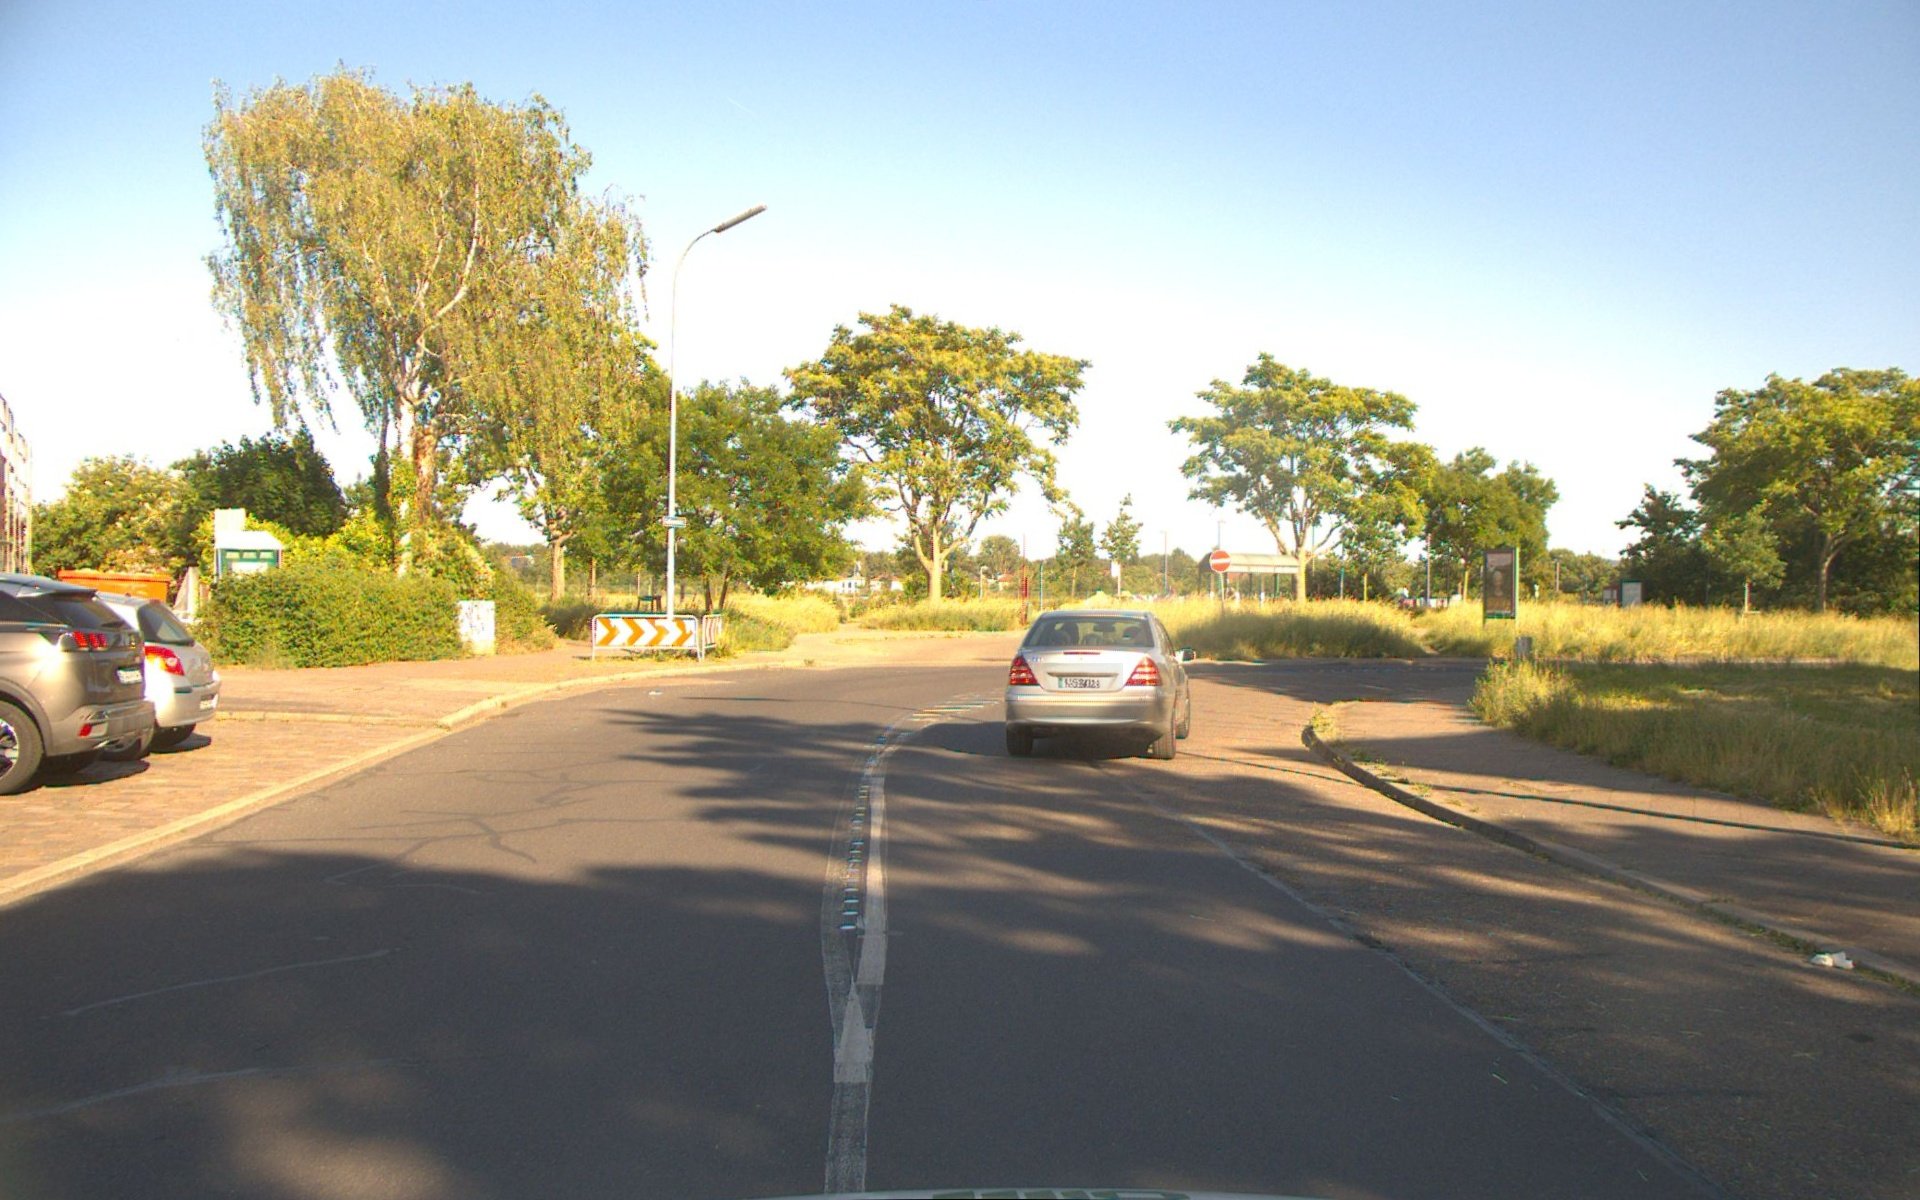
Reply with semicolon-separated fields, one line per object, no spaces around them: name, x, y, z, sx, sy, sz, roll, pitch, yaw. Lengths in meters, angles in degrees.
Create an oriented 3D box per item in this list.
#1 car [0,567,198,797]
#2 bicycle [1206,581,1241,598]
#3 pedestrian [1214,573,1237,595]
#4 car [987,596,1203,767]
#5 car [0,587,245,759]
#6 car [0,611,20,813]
car;-8.364;0.519;12.899;3.906;1.640;1.818;3;-1;-1
bicycle;12.208;-0.490;76.646;1.554;0.716;0.648;2;0;-30
pedestrian;12.292;-0.744;76.705;0.789;0.957;0.696;1;0;-30
car;1.546;0.733;17.365;1.777;1.489;4.364;2;1;11
car;-8.766;0.630;15.287;3.620;1.484;1.630;2;0;-11
car;-8.228;0.668;10.415;3.539;1.367;1.733;3;-1;-1
